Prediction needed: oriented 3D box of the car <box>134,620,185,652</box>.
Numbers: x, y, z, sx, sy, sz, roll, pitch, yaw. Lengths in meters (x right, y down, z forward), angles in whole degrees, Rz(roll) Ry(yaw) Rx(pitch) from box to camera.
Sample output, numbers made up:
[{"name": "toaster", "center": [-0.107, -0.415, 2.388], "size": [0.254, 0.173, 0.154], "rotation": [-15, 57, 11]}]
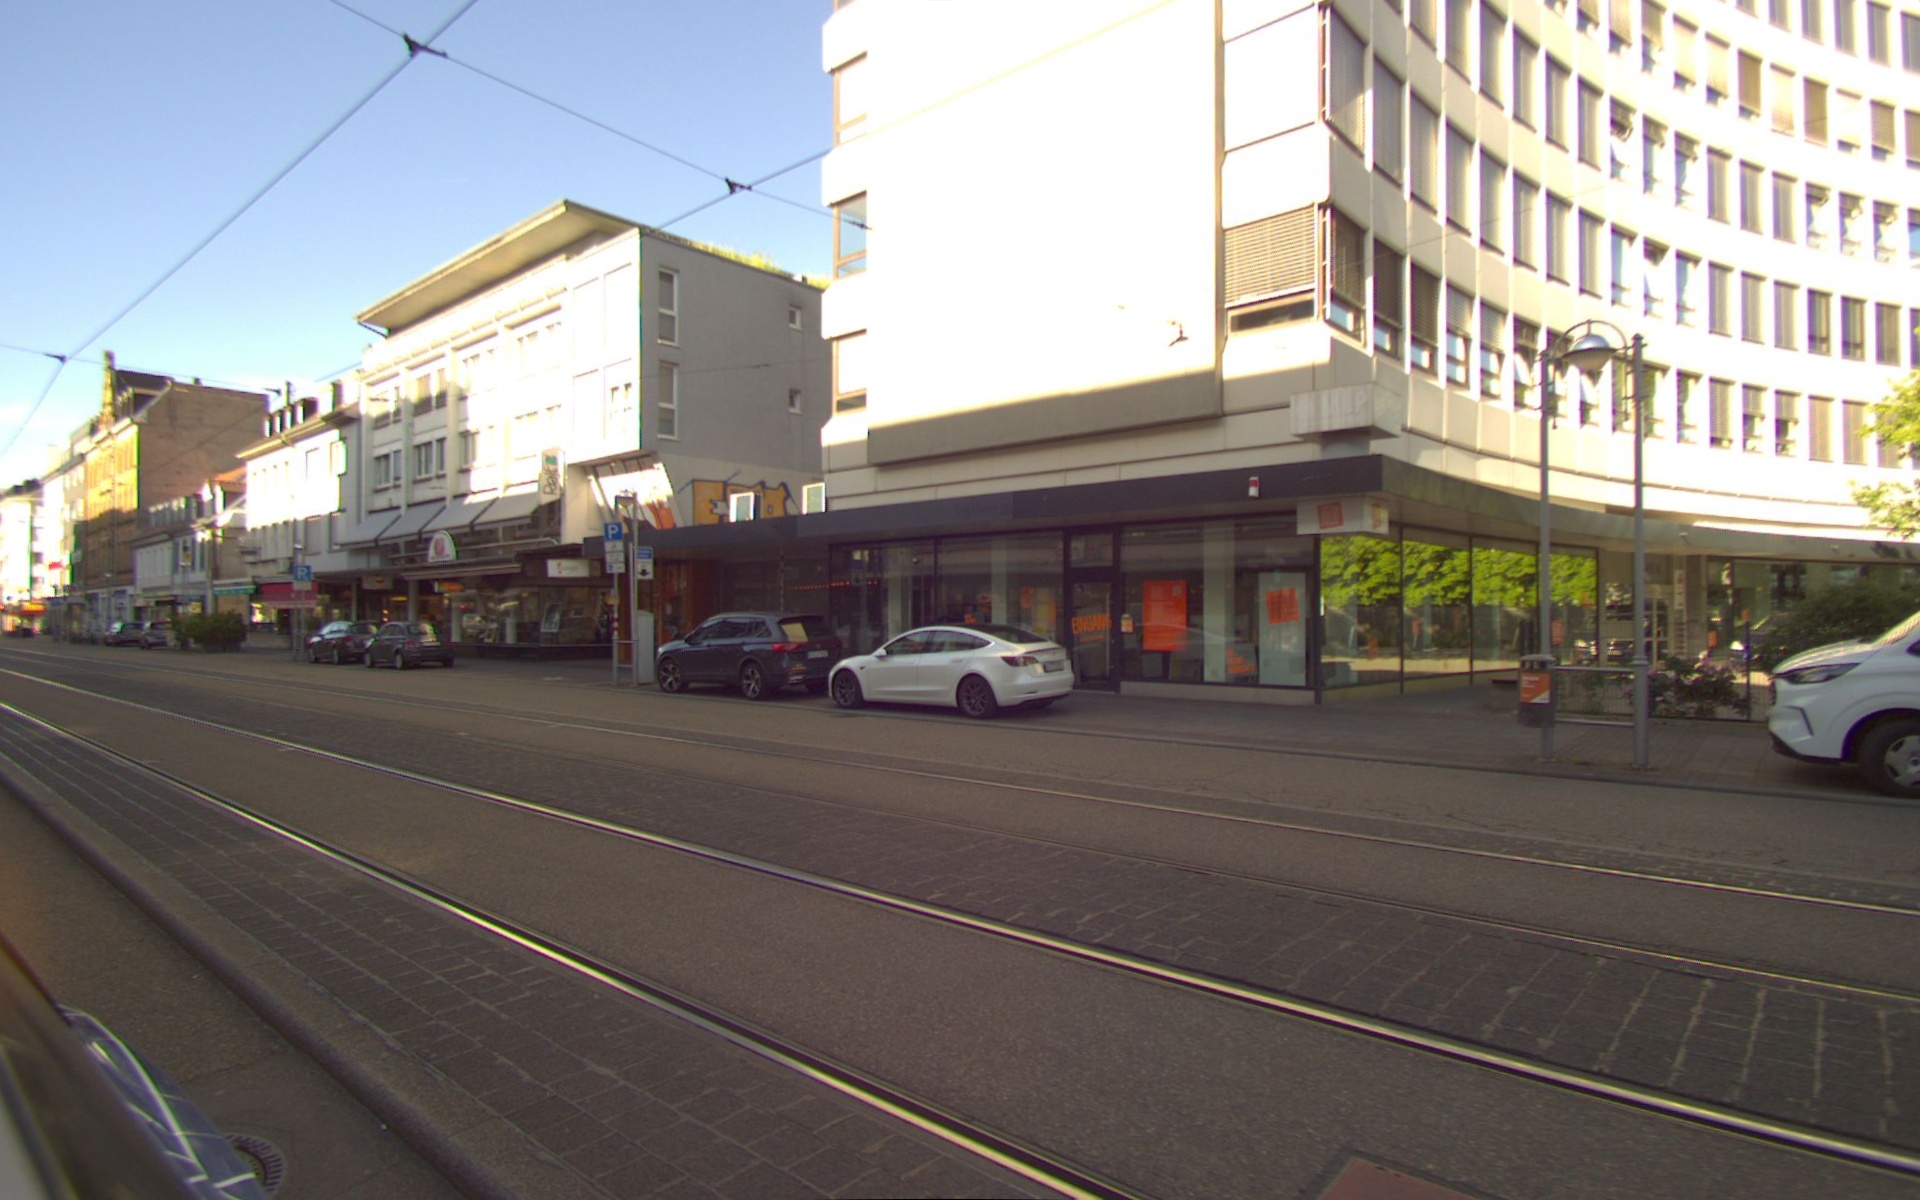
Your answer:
[{"name": "car", "center": [-43.605, 1.939, 55.113], "size": [2.890, 1.616, 1.679], "rotation": [-1, 1, 41]}]

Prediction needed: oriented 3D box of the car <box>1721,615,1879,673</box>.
[{"name": "car", "center": [22.563, 1.142, 27.185], "size": [3.930, 1.431, 1.831], "rotation": [1, 0, -26]}]

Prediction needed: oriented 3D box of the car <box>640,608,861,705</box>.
[{"name": "car", "center": [-4.318, 1.037, 20.435], "size": [4.654, 1.691, 1.958], "rotation": [-1, 1, 42]}]

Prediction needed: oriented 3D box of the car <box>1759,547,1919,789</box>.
[{"name": "car", "center": [9.642, 0.519, 8.041], "size": [5.094, 1.990, 1.973], "rotation": [-1, 1, 41]}]

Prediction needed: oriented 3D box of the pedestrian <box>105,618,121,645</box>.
[{"name": "pedestrian", "center": [-57.171, 2.102, 68.346], "size": [0.580, 1.775, 0.651], "rotation": [-1, 1, 33]}]

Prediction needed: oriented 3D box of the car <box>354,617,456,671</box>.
[{"name": "car", "center": [-17.630, 1.357, 32.110], "size": [3.585, 1.535, 1.585], "rotation": [-1, 1, 39]}]

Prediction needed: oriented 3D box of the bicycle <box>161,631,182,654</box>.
[{"name": "bicycle", "center": [-38.748, 2.081, 49.734], "size": [1.715, 1.098, 0.513], "rotation": [-1, 1, 42]}]

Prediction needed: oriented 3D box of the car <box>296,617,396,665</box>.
[{"name": "car", "center": [-22.049, 1.424, 36.268], "size": [4.850, 1.535, 1.719], "rotation": [-1, 1, 42]}]

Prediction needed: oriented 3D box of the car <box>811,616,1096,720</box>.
[{"name": "car", "center": [-0.218, 1.020, 16.879], "size": [4.653, 1.431, 1.869], "rotation": [-1, 1, 40]}]

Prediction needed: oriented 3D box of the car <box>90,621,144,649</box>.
[{"name": "car", "center": [-50.803, 2.074, 60.952], "size": [4.761, 1.525, 1.798], "rotation": [-1, 0, 41]}]
